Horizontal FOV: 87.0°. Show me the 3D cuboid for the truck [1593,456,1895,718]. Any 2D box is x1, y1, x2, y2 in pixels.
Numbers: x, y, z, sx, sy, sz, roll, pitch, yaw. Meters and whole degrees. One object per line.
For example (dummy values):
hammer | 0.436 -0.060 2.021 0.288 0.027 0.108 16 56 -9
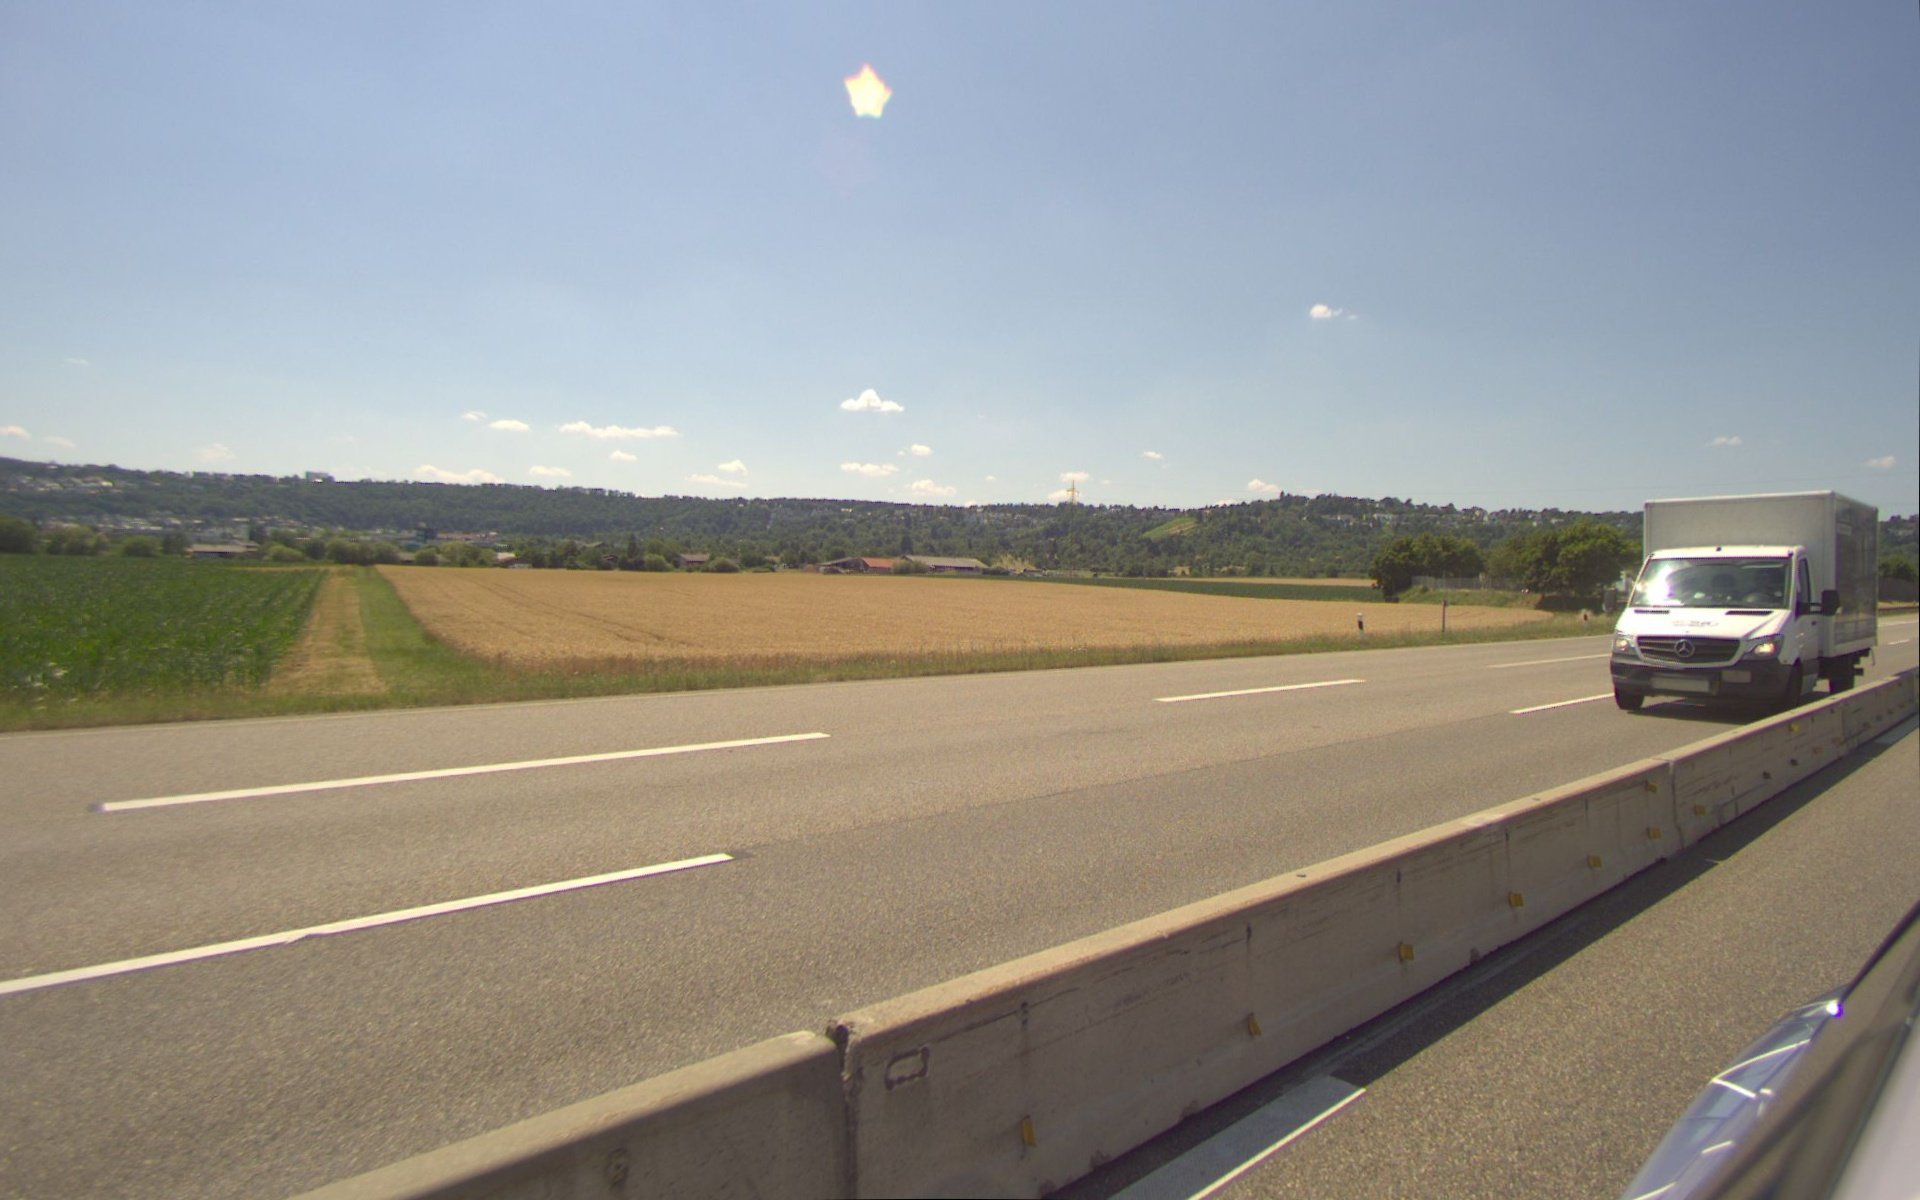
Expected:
truck | 11.865 -0.126 15.066 6.632 3.106 2.325 1 -1 -41
